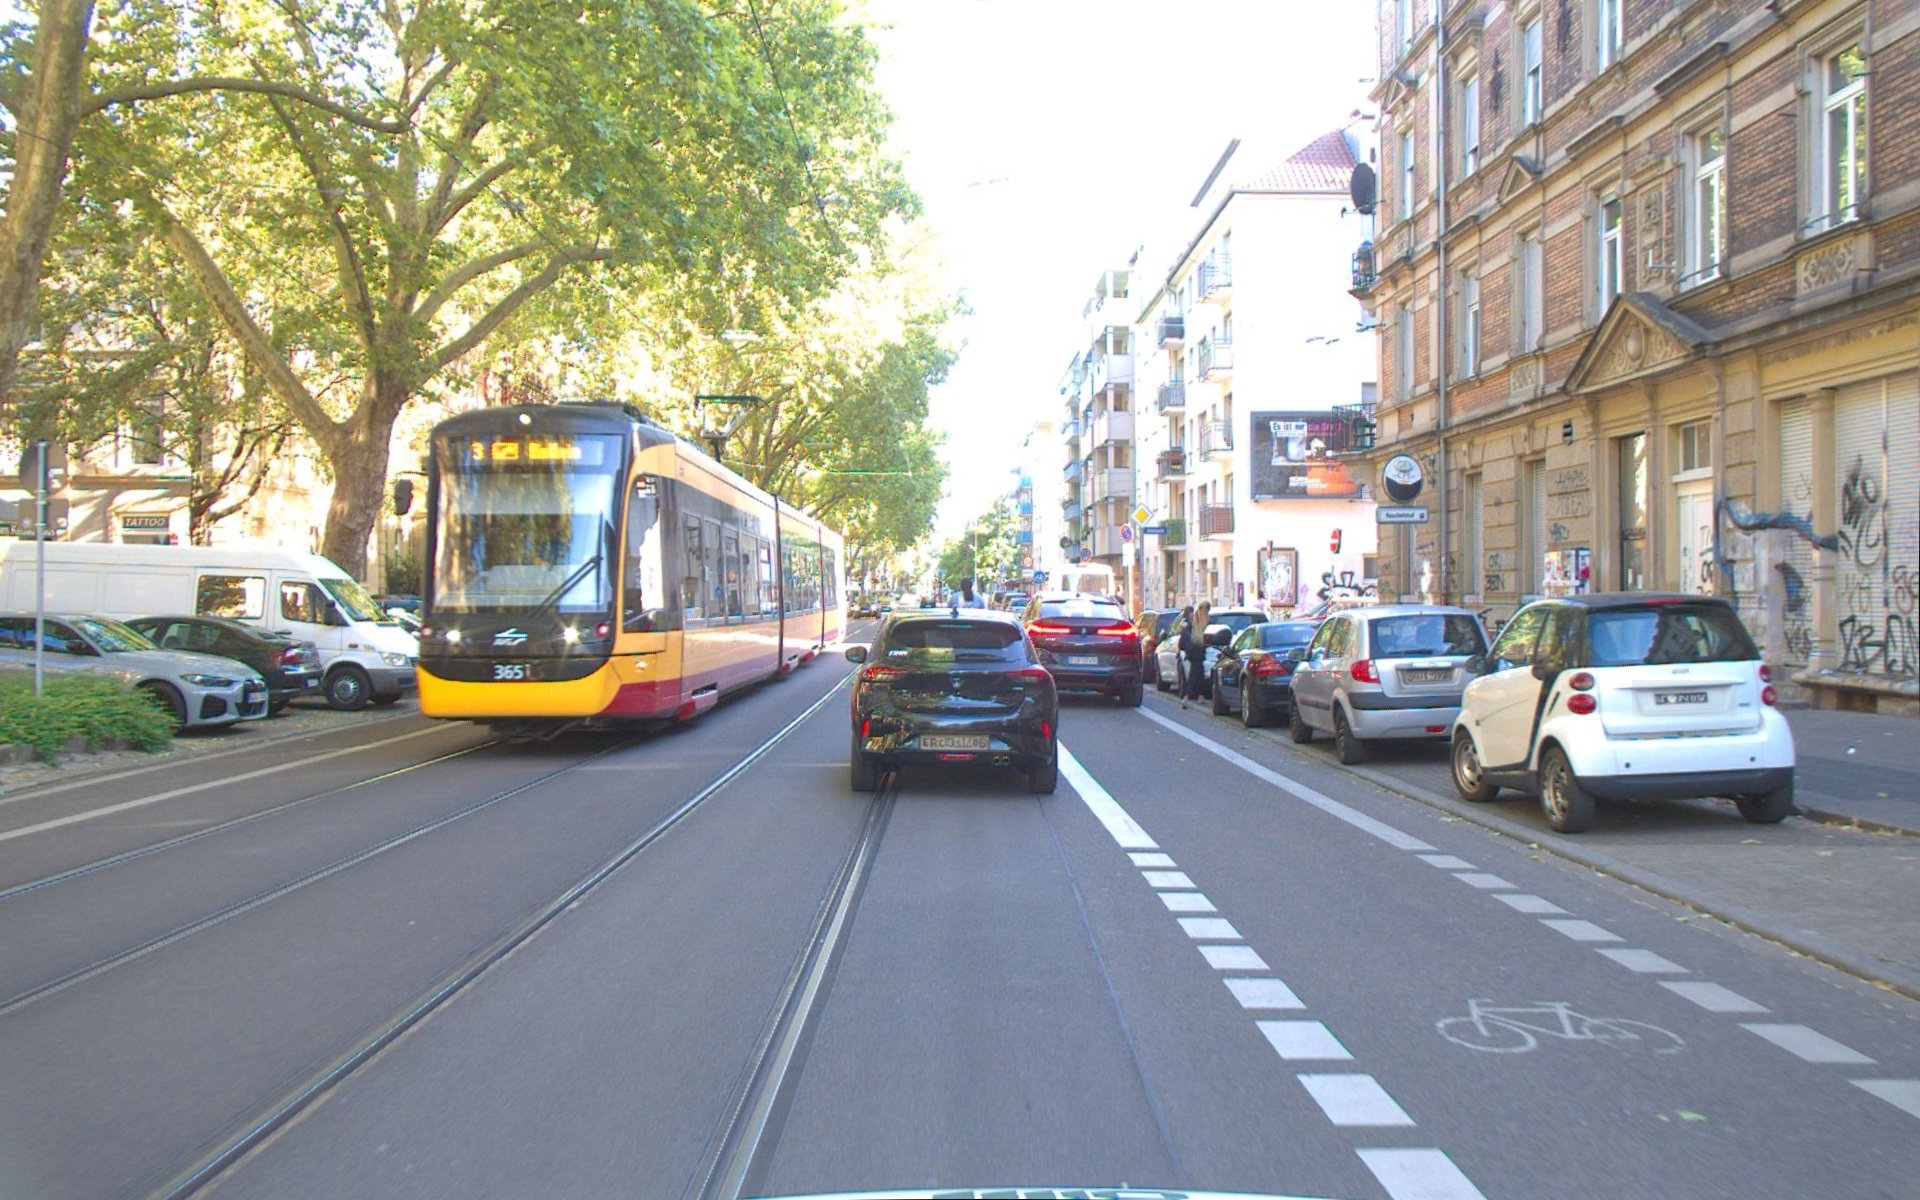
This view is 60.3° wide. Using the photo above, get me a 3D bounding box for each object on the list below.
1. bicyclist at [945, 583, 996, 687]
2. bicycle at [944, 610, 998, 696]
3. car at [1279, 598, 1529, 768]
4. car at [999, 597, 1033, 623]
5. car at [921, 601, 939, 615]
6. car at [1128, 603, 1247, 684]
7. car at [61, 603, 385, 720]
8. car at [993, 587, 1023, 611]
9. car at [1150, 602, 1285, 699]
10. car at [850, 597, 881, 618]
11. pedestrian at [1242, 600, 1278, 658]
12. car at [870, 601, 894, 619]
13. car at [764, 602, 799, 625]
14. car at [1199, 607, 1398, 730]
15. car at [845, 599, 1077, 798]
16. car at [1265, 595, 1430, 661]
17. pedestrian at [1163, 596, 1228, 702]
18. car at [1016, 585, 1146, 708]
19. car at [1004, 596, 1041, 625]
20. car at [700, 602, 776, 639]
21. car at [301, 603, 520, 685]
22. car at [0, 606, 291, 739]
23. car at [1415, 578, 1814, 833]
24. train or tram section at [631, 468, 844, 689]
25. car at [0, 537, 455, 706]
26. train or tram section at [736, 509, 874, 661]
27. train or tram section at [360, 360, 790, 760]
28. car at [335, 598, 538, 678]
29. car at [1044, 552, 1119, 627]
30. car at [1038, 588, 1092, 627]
[{"bbox_3d":[0.175,0.598,28.885,0.831,1.770,1.161,0,0,-2],"label":"bicyclist"},{"bbox_3d":[0.179,0.898,29.028,0.843,1.431,2.523,0,0,-2],"label":"bicycle"},{"bbox_3d":[4.493,0.775,17.250,1.669,1.481,3.698,-3,0,2],"label":"car"},{"bbox_3d":[3.227,0.584,95.521,1.773,1.361,3.933,-3,0,0],"label":"car"},{"bbox_3d":[-2.982,0.822,165.517,1.773,1.362,3.932,0,0,-1],"label":"car"},{"bbox_3d":[4.457,0.823,32.941,1.773,1.403,3.933,-3,0,0],"label":"car"},{"bbox_3d":[-10.487,0.862,23.740,3.842,1.524,1.676,2,0,-4],"label":"car"},{"bbox_3d":[3.049,-0.073,105.229,1.773,1.361,3.933,-3,0,0],"label":"car"},{"bbox_3d":[4.316,0.803,28.241,1.628,1.444,3.933,-3,0,0],"label":"car"},{"bbox_3d":[-6.136,0.481,107.587,1.772,1.362,3.933,0,0,0],"label":"car"},{"bbox_3d":[8.298,0.790,45.767,0.849,1.594,0.768,0,0,-3],"label":"pedestrian"},{"bbox_3d":[-6.502,0.853,138.524,1.773,1.361,3.933,-3,0,0],"label":"car"},{"bbox_3d":[-11.292,0.841,104.743,1.772,1.362,3.933,0,0,0],"label":"car"},{"bbox_3d":[4.371,0.831,21.931,1.773,1.361,3.933,-3,0,0],"label":"car"},{"bbox_3d":[-0.028,0.749,14.341,1.757,1.466,3.530,0,1,-1],"label":"car"},{"bbox_3d":[11.138,0.798,47.718,4.289,1.830,1.876,0,0,-2],"label":"car"},{"bbox_3d":[3.636,0.738,25.476,0.848,1.594,0.768,0,0,20],"label":"pedestrian"},{"bbox_3d":[1.824,0.671,25.918,1.772,1.773,3.933,0,0,0],"label":"car"},{"bbox_3d":[3.283,0.534,87.325,1.773,1.361,3.933,-3,0,0],"label":"car"},{"bbox_3d":[-11.786,1.079,88.126,3.842,1.821,1.676,1,0,-4],"label":"car"},{"bbox_3d":[-10.993,0.872,33.279,3.842,1.524,1.676,2,0,-4],"label":"car"},{"bbox_3d":[-10.794,0.891,21.033,3.839,1.524,1.677,1,0,0],"label":"car"},{"bbox_3d":[4.648,0.686,12.200,1.536,1.543,3.038,-3,0,-3],"label":"car"},{"bbox_3d":[-4.260,-0.361,34.725,2.678,3.746,12.716,-1,0,0],"label":"train or tram section"},{"bbox_3d":[-11.819,0.338,26.720,6.493,2.451,2.457,1,0,-1],"label":"car"},{"bbox_3d":[-4.178,-0.375,47.464,2.678,3.746,12.716,-1,0,0],"label":"train or tram section"},{"bbox_3d":[-4.289,-0.375,21.983,2.678,3.746,12.716,-1,0,0],"label":"train or tram section"},{"bbox_3d":[-11.273,0.807,35.804,3.842,1.605,1.676,2,0,-4],"label":"car"},{"bbox_3d":[3.965,-0.321,54.841,2.033,2.257,4.933,-3,0,0],"label":"car"},{"bbox_3d":[4.022,0.276,63.978,1.773,1.361,3.933,-3,0,0],"label":"car"}]
